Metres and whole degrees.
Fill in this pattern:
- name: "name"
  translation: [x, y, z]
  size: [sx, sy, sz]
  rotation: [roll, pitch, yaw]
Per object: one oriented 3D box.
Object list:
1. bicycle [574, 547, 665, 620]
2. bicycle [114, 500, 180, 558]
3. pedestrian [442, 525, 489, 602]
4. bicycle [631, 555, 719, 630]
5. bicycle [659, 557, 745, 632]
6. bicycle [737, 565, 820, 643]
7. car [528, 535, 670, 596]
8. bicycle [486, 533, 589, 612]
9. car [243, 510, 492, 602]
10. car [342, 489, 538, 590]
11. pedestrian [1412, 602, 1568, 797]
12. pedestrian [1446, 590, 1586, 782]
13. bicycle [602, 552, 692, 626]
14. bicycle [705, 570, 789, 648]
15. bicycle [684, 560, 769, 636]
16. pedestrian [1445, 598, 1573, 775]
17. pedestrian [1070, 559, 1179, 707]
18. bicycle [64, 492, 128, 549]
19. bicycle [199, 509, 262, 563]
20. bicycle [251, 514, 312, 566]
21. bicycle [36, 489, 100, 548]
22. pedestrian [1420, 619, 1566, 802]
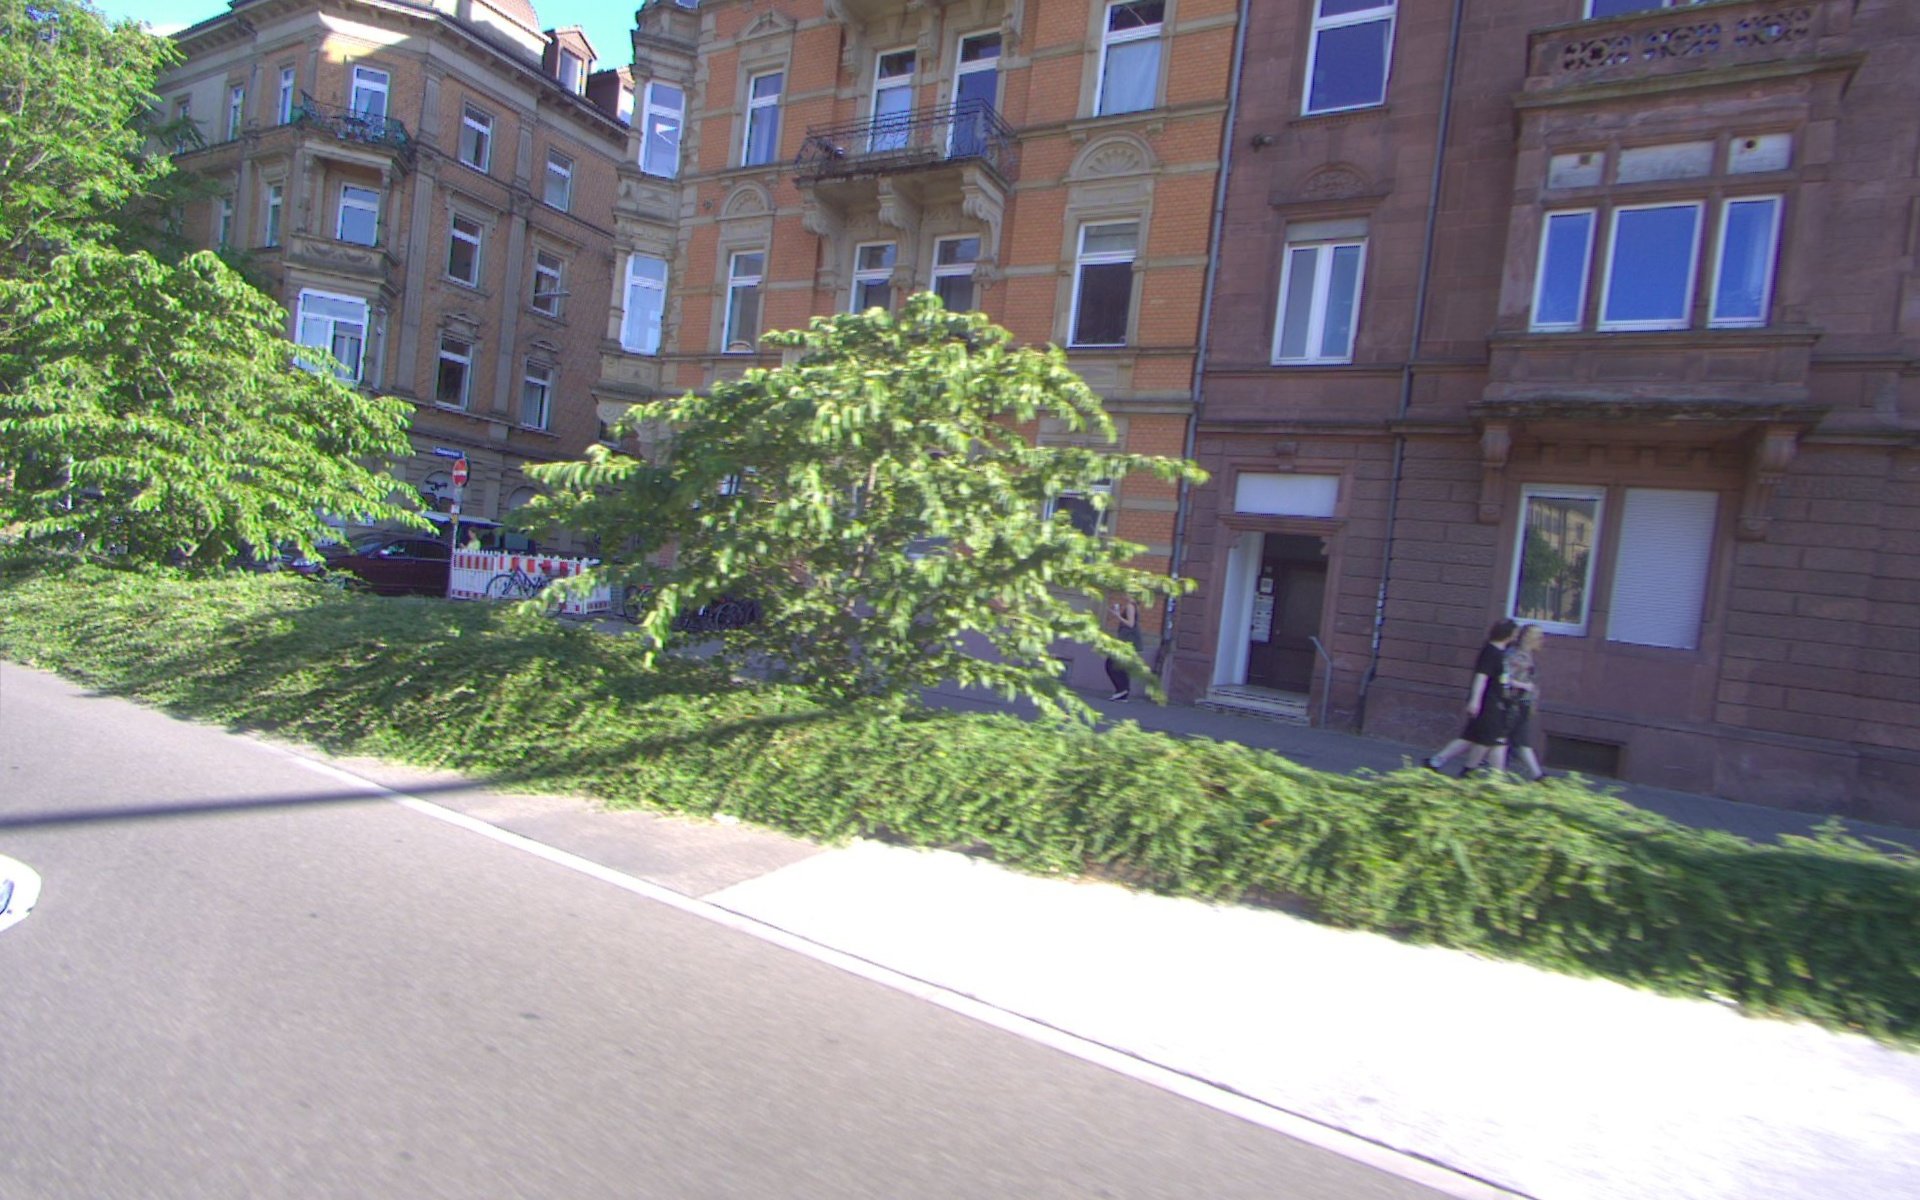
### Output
- name: "bicycle"
  translation: [-6.288, -0.294, 18.689]
  size: [0.481, 1.255, 1.888]
  rotation: [6, 2, 18]
- name: "bicycle"
  translation: [-18.791, -1.651, 23.238]
  size: [1.789, 1.062, 0.518]
  rotation: [11, 5, 30]
- name: "pedestrian"
  translation: [-10.613, -0.792, 21.598]
  size: [0.692, 1.554, 0.658]
  rotation: [6, 2, -18]
- name: "bicycle"
  translation: [-5.174, -0.128, 18.402]
  size: [0.481, 1.255, 1.888]
  rotation: [6, 2, 18]
- name: "bicycle"
  translation: [-4.668, -0.086, 18.346]
  size: [0.481, 1.255, 1.888]
  rotation: [6, 2, 18]
- name: "bicycle"
  translation: [-3.137, 0.066, 17.580]
  size: [0.481, 1.255, 1.888]
  rotation: [6, 2, 18]
- name: "car"
  translation: [-11.980, -1.125, 33.630]
  size: [1.762, 1.528, 4.163]
  rotation: [11, 4, 31]
- name: "bicycle"
  translation: [-7.714, -0.506, 18.367]
  size: [1.854, 1.255, 0.490]
  rotation: [6, 3, 22]
- name: "car"
  translation: [-12.756, -0.898, 21.948]
  size: [1.782, 1.434, 4.254]
  rotation: [11, 3, 30]
- name: "car"
  translation: [-14.712, -1.651, 28.756]
  size: [1.745, 2.151, 4.584]
  rotation: [11, 2, 29]
- name: "pedestrian"
  translation: [5.171, 0.936, 9.835]
  size: [1.117, 1.677, 0.703]
  rotation: [8, 2, 30]
- name: "pedestrian"
  translation: [6.298, 0.945, 11.424]
  size: [1.117, 1.955, 0.822]
  rotation: [8, 2, 30]
- name: "bicycle"
  translation: [-5.728, -0.194, 18.521]
  size: [0.481, 1.255, 1.888]
  rotation: [6, 2, 18]
- name: "bicycle"
  translation: [-3.709, 0.150, 17.673]
  size: [0.481, 1.255, 1.888]
  rotation: [6, 2, 18]
- name: "bicycle"
  translation: [-4.159, -0.033, 18.077]
  size: [0.481, 1.255, 1.888]
  rotation: [6, 2, 18]
- name: "pedestrian"
  translation: [6.728, 1.029, 12.344]
  size: [1.117, 1.955, 0.822]
  rotation: [8, 2, 30]
- name: "pedestrian"
  translation: [2.380, 0.471, 14.553]
  size: [1.117, 1.955, 0.822]
  rotation: [8, 2, 30]
- name: "bicycle"
  translation: [-19.967, -1.841, 23.240]
  size: [1.789, 1.062, 0.518]
  rotation: [11, 5, 30]
- name: "bicycle"
  translation: [-17.954, -1.576, 24.746]
  size: [1.789, 1.062, 0.518]
  rotation: [11, 5, 30]
- name: "bicycle"
  translation: [-17.403, -1.544, 25.789]
  size: [1.789, 1.062, 0.518]
  rotation: [11, 5, 30]
- name: "bicycle"
  translation: [-20.224, -1.859, 22.797]
  size: [1.789, 1.062, 0.518]
  rotation: [11, 5, 30]
- name: "pedestrian"
  translation: [5.545, 1.110, 10.482]
  size: [1.117, 1.677, 0.703]
  rotation: [8, 2, 30]
